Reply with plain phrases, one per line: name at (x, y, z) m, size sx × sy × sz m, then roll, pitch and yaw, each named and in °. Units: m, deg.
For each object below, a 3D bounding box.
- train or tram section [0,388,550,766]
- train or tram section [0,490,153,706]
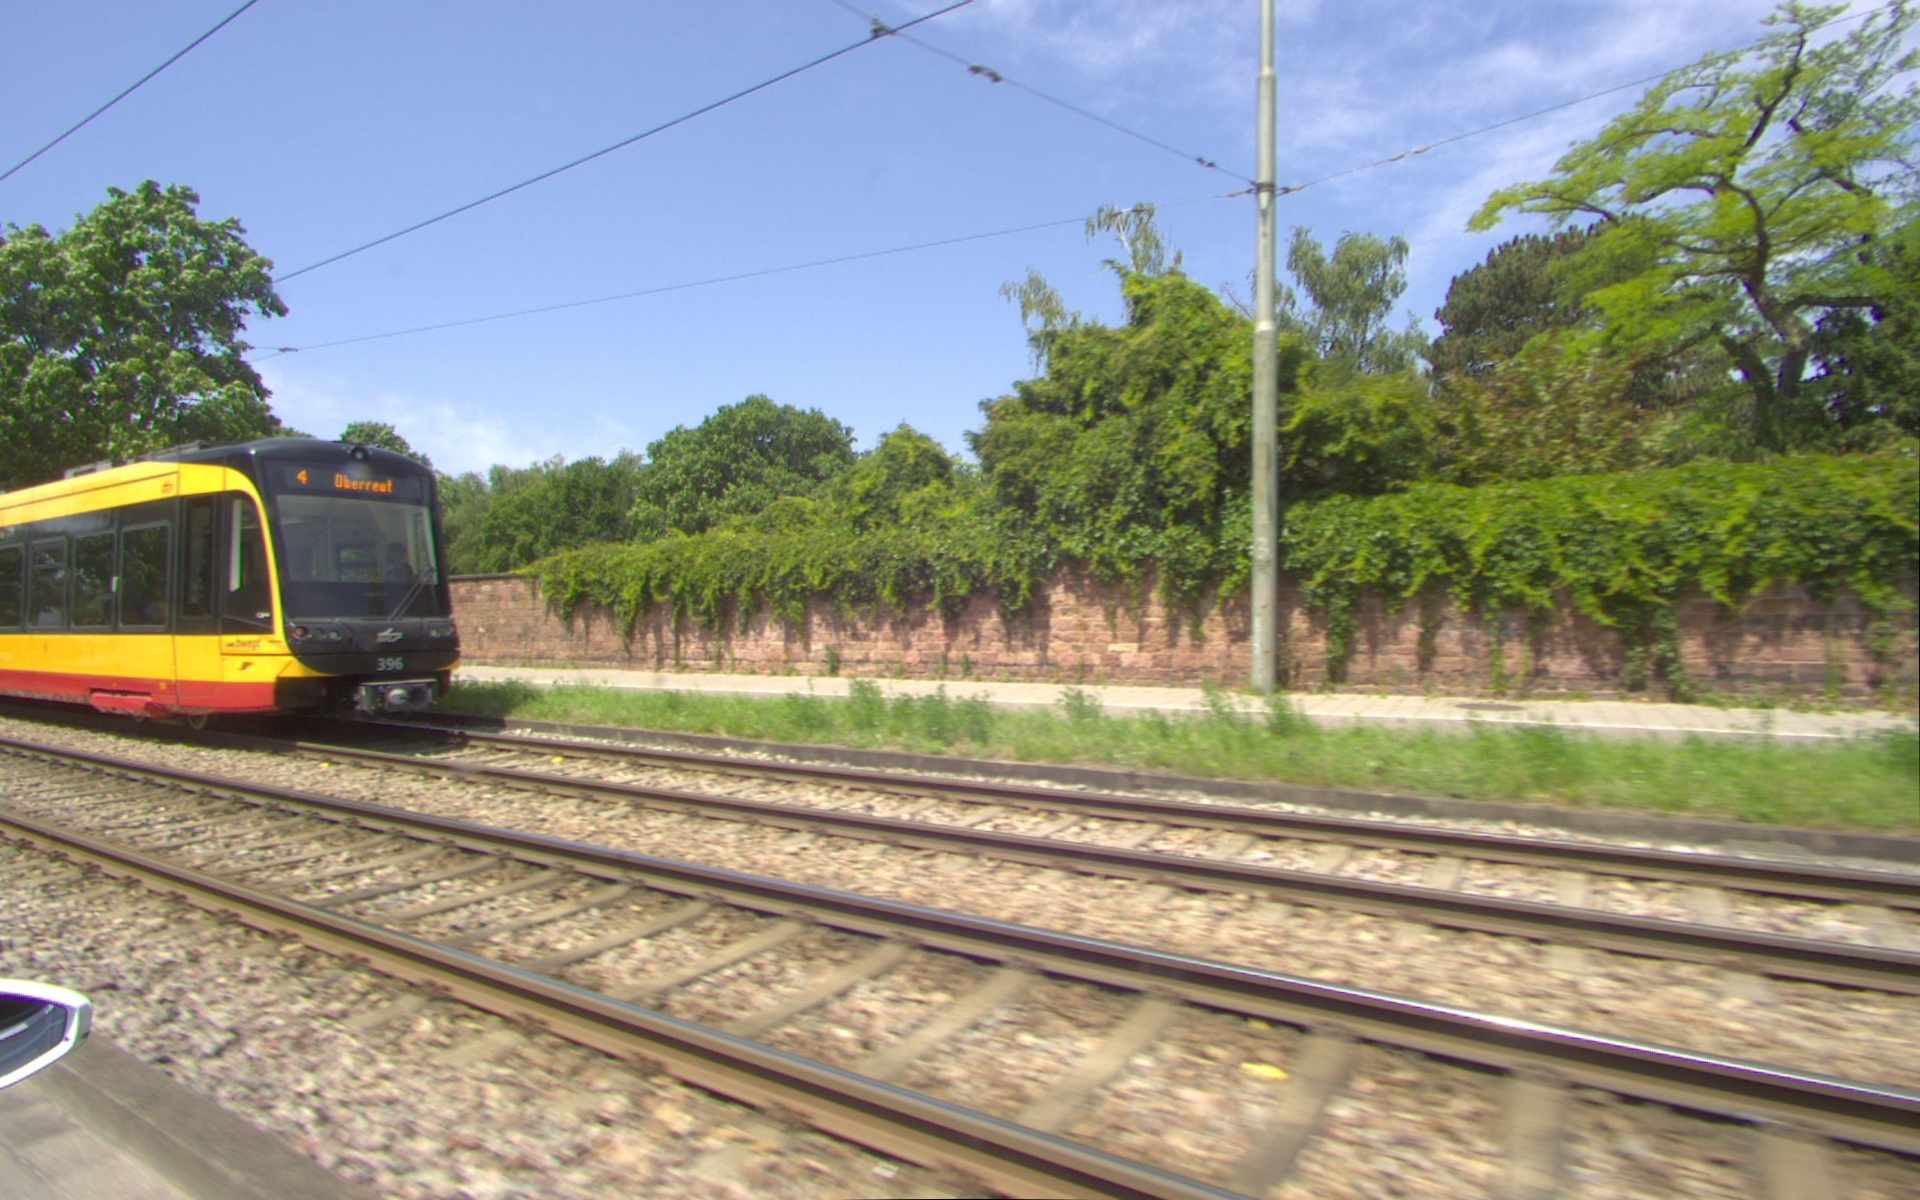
train or tram section at (-11.464, -0.149, 14.971) m, size 12.903 × 3.848 × 3.022 m, roll -1°, pitch 0°, yaw 33°
train or tram section at (-22.198, 0.041, 22.003) m, size 12.903 × 3.848 × 3.022 m, roll -1°, pitch 0°, yaw 33°
